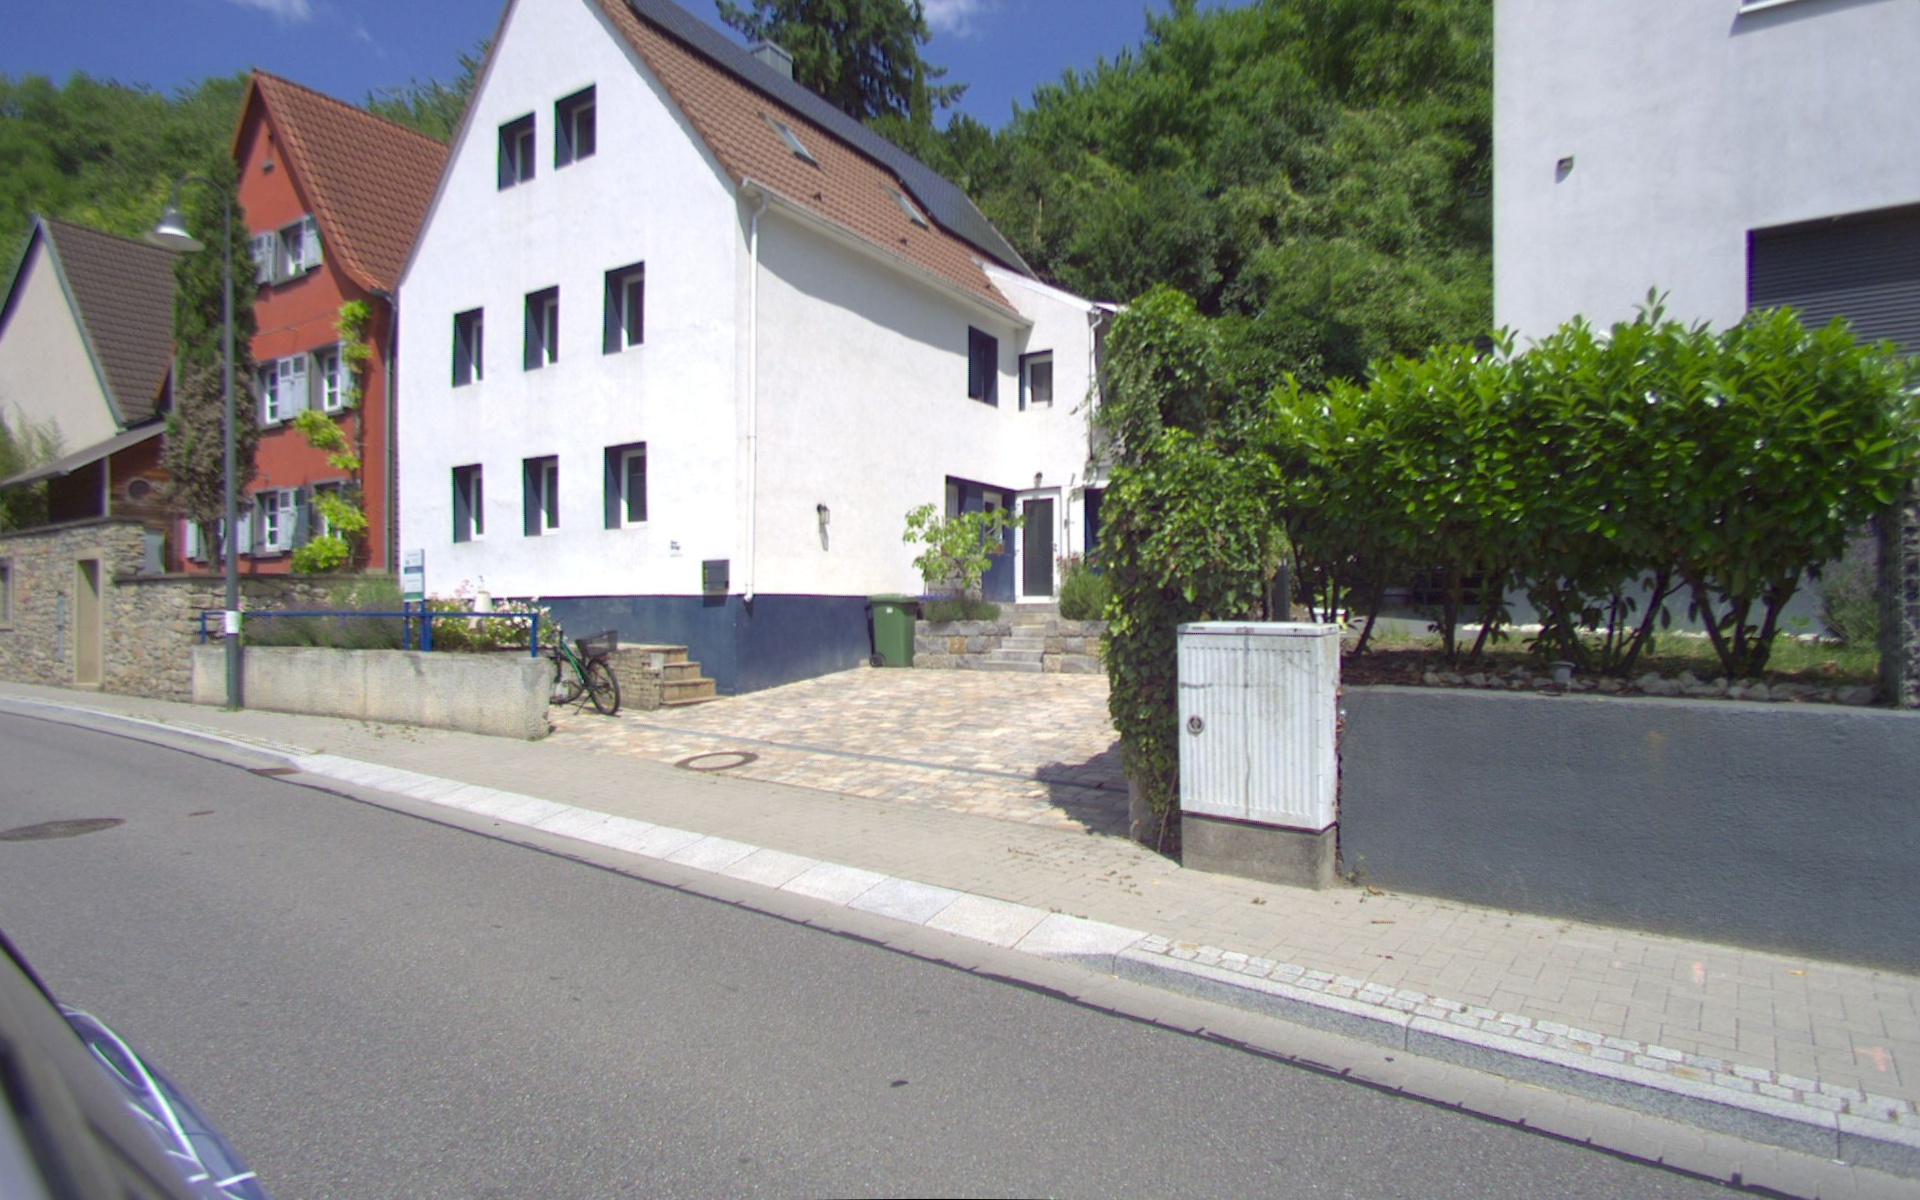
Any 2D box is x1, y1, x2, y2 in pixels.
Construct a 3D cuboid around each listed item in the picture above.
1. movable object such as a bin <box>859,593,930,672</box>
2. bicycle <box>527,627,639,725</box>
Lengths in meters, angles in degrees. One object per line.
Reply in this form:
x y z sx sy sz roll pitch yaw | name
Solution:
-0.956 0.476 14.854 0.833 1.121 0.632 0 -3 26 | movable object such as a bin
-4.397 0.850 11.759 1.539 0.979 0.502 1 6 42 | bicycle
